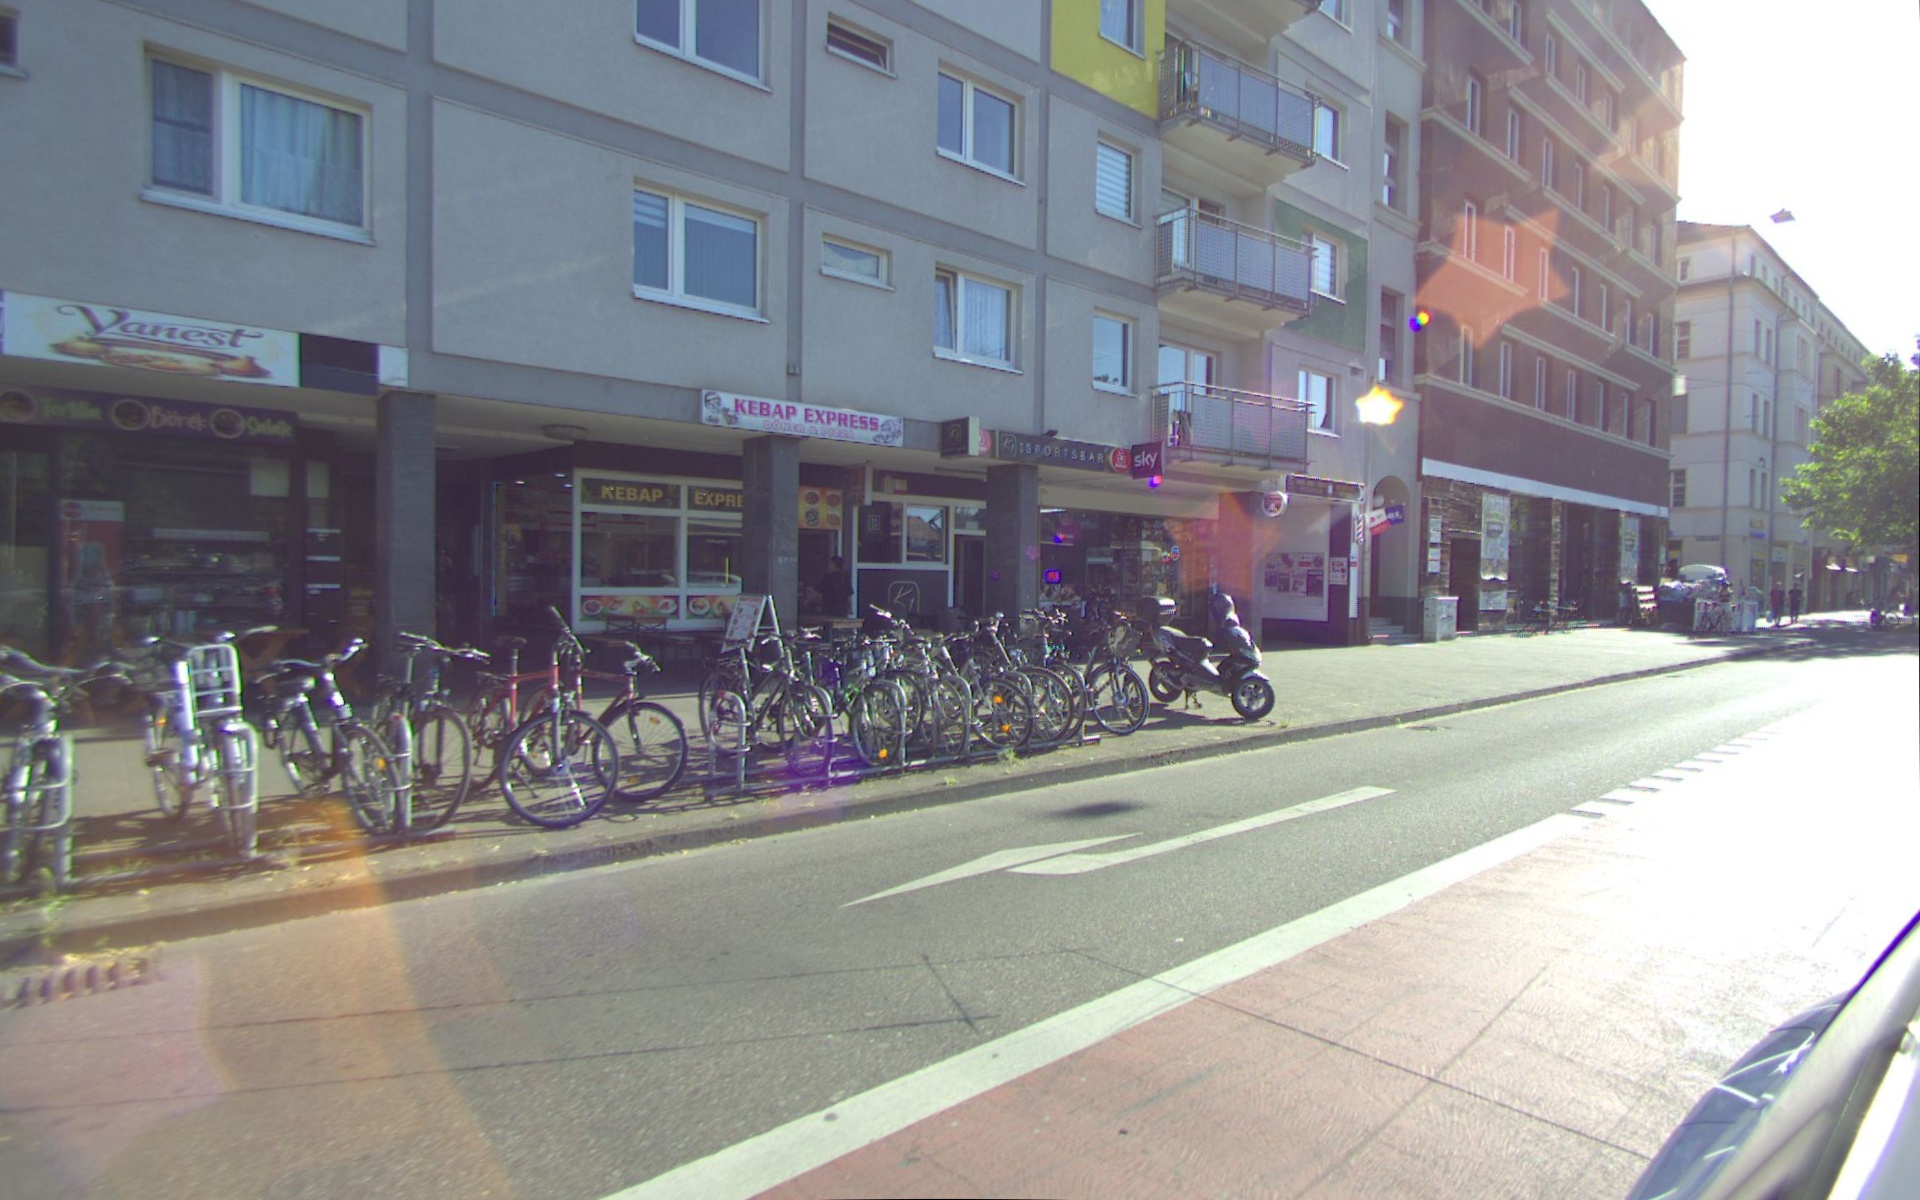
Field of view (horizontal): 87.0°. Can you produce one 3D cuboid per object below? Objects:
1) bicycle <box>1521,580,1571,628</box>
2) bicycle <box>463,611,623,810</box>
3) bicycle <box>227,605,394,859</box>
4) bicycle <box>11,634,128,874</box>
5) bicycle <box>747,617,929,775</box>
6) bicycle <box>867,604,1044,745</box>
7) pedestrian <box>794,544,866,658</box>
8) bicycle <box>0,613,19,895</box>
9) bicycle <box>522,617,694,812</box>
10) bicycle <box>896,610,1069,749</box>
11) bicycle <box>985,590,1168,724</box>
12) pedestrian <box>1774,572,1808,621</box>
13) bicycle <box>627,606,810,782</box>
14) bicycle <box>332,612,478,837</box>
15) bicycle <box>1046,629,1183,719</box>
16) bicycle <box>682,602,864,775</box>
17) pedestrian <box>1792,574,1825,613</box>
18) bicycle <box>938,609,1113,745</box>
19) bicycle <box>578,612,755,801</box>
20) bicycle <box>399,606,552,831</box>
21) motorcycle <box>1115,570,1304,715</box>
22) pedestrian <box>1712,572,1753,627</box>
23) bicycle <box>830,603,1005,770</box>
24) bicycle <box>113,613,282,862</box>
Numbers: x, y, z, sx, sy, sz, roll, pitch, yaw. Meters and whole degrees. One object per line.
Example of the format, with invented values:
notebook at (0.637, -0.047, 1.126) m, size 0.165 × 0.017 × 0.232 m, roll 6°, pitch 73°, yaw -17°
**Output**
bicycle at (16.140, 0.083, 27.845) m, size 1.899 × 1.257 × 0.597 m, roll -1°, pitch 2°, yaw -41°
bicycle at (-2.746, 0.635, 6.558) m, size 0.408 × 1.073 × 1.821 m, roll -1°, pitch 1°, yaw -40°
bicycle at (-3.731, 0.655, 5.757) m, size 0.522 × 1.125 × 1.641 m, roll -1°, pitch 4°, yaw -43°
bicycle at (-4.437, 0.689, 5.075) m, size 0.380 × 0.978 × 1.546 m, roll -1°, pitch 0°, yaw -40°
bicycle at (-1.021, 0.708, 8.093) m, size 0.408 × 1.024 × 1.819 m, roll -1°, pitch 3°, yaw -44°
bicycle at (-0.086, 0.603, 8.943) m, size 0.408 × 1.073 × 1.819 m, roll -1°, pitch 2°, yaw -44°
pedestrian at (-1.981, 0.002, 15.434) m, size 0.810 × 1.683 × 0.728 m, roll 0°, pitch 1°, yaw -41°
bicycle at (-4.762, 0.664, 4.801) m, size 0.392 × 1.113 × 1.752 m, roll -1°, pitch 3°, yaw -42°
bicycle at (-2.425, 0.696, 6.840) m, size 0.408 × 1.073 × 1.820 m, roll 0°, pitch 2°, yaw -43°
bicycle at (0.160, 0.673, 9.256) m, size 0.408 × 1.073 × 1.819 m, roll -1°, pitch 3°, yaw -44°
bicycle at (1.145, 0.523, 10.272) m, size 0.692 × 1.188 × 1.819 m, roll -1°, pitch 2°, yaw -45°
pedestrian at (33.450, -0.152, 40.752) m, size 0.861 × 1.907 × 1.209 m, roll 1°, pitch 1°, yaw 33°
bicycle at (-1.815, 0.623, 7.433) m, size 0.409 × 1.082 × 1.819 m, roll -3°, pitch 4°, yaw -44°
bicycle at (-3.407, 0.670, 6.144) m, size 0.408 × 1.068 × 1.773 m, roll -1°, pitch 3°, yaw -41°
bicycle at (1.616, 0.753, 10.723) m, size 0.562 × 0.774 × 1.346 m, roll -1°, pitch 4°, yaw -45°
bicycle at (-1.465, 0.610, 7.689) m, size 0.409 × 1.082 × 1.819 m, roll -3°, pitch 4°, yaw -44°
pedestrian at (36.577, -0.287, 43.646) m, size 0.859 × 1.669 × 0.973 m, roll 1°, pitch 1°, yaw 27°
bicycle at (0.567, 0.667, 9.468) m, size 0.408 × 1.073 × 1.819 m, roll -1°, pitch 3°, yaw -44°
bicycle at (-2.109, 0.674, 7.113) m, size 0.408 × 1.073 × 1.820 m, roll -2°, pitch 4°, yaw -43°
bicycle at (-3.072, 0.652, 6.326) m, size 0.398 × 1.127 × 1.821 m, roll 0°, pitch 3°, yaw -41°
motorcycle at (2.808, 0.421, 11.548) m, size 0.874 × 1.446 × 1.880 m, roll -1°, pitch 4°, yaw -44°
pedestrian at (23.581, -0.028, 30.880) m, size 0.658 × 1.671 × 0.774 m, roll 0°, pitch 1°, yaw -29°
bicycle at (-0.409, 0.677, 8.692) m, size 0.408 × 1.244 × 1.778 m, roll -1°, pitch 2°, yaw -44°
bicycle at (-4.106, 0.629, 5.396) m, size 0.522 × 1.096 × 1.815 m, roll -1°, pitch 0°, yaw -43°
